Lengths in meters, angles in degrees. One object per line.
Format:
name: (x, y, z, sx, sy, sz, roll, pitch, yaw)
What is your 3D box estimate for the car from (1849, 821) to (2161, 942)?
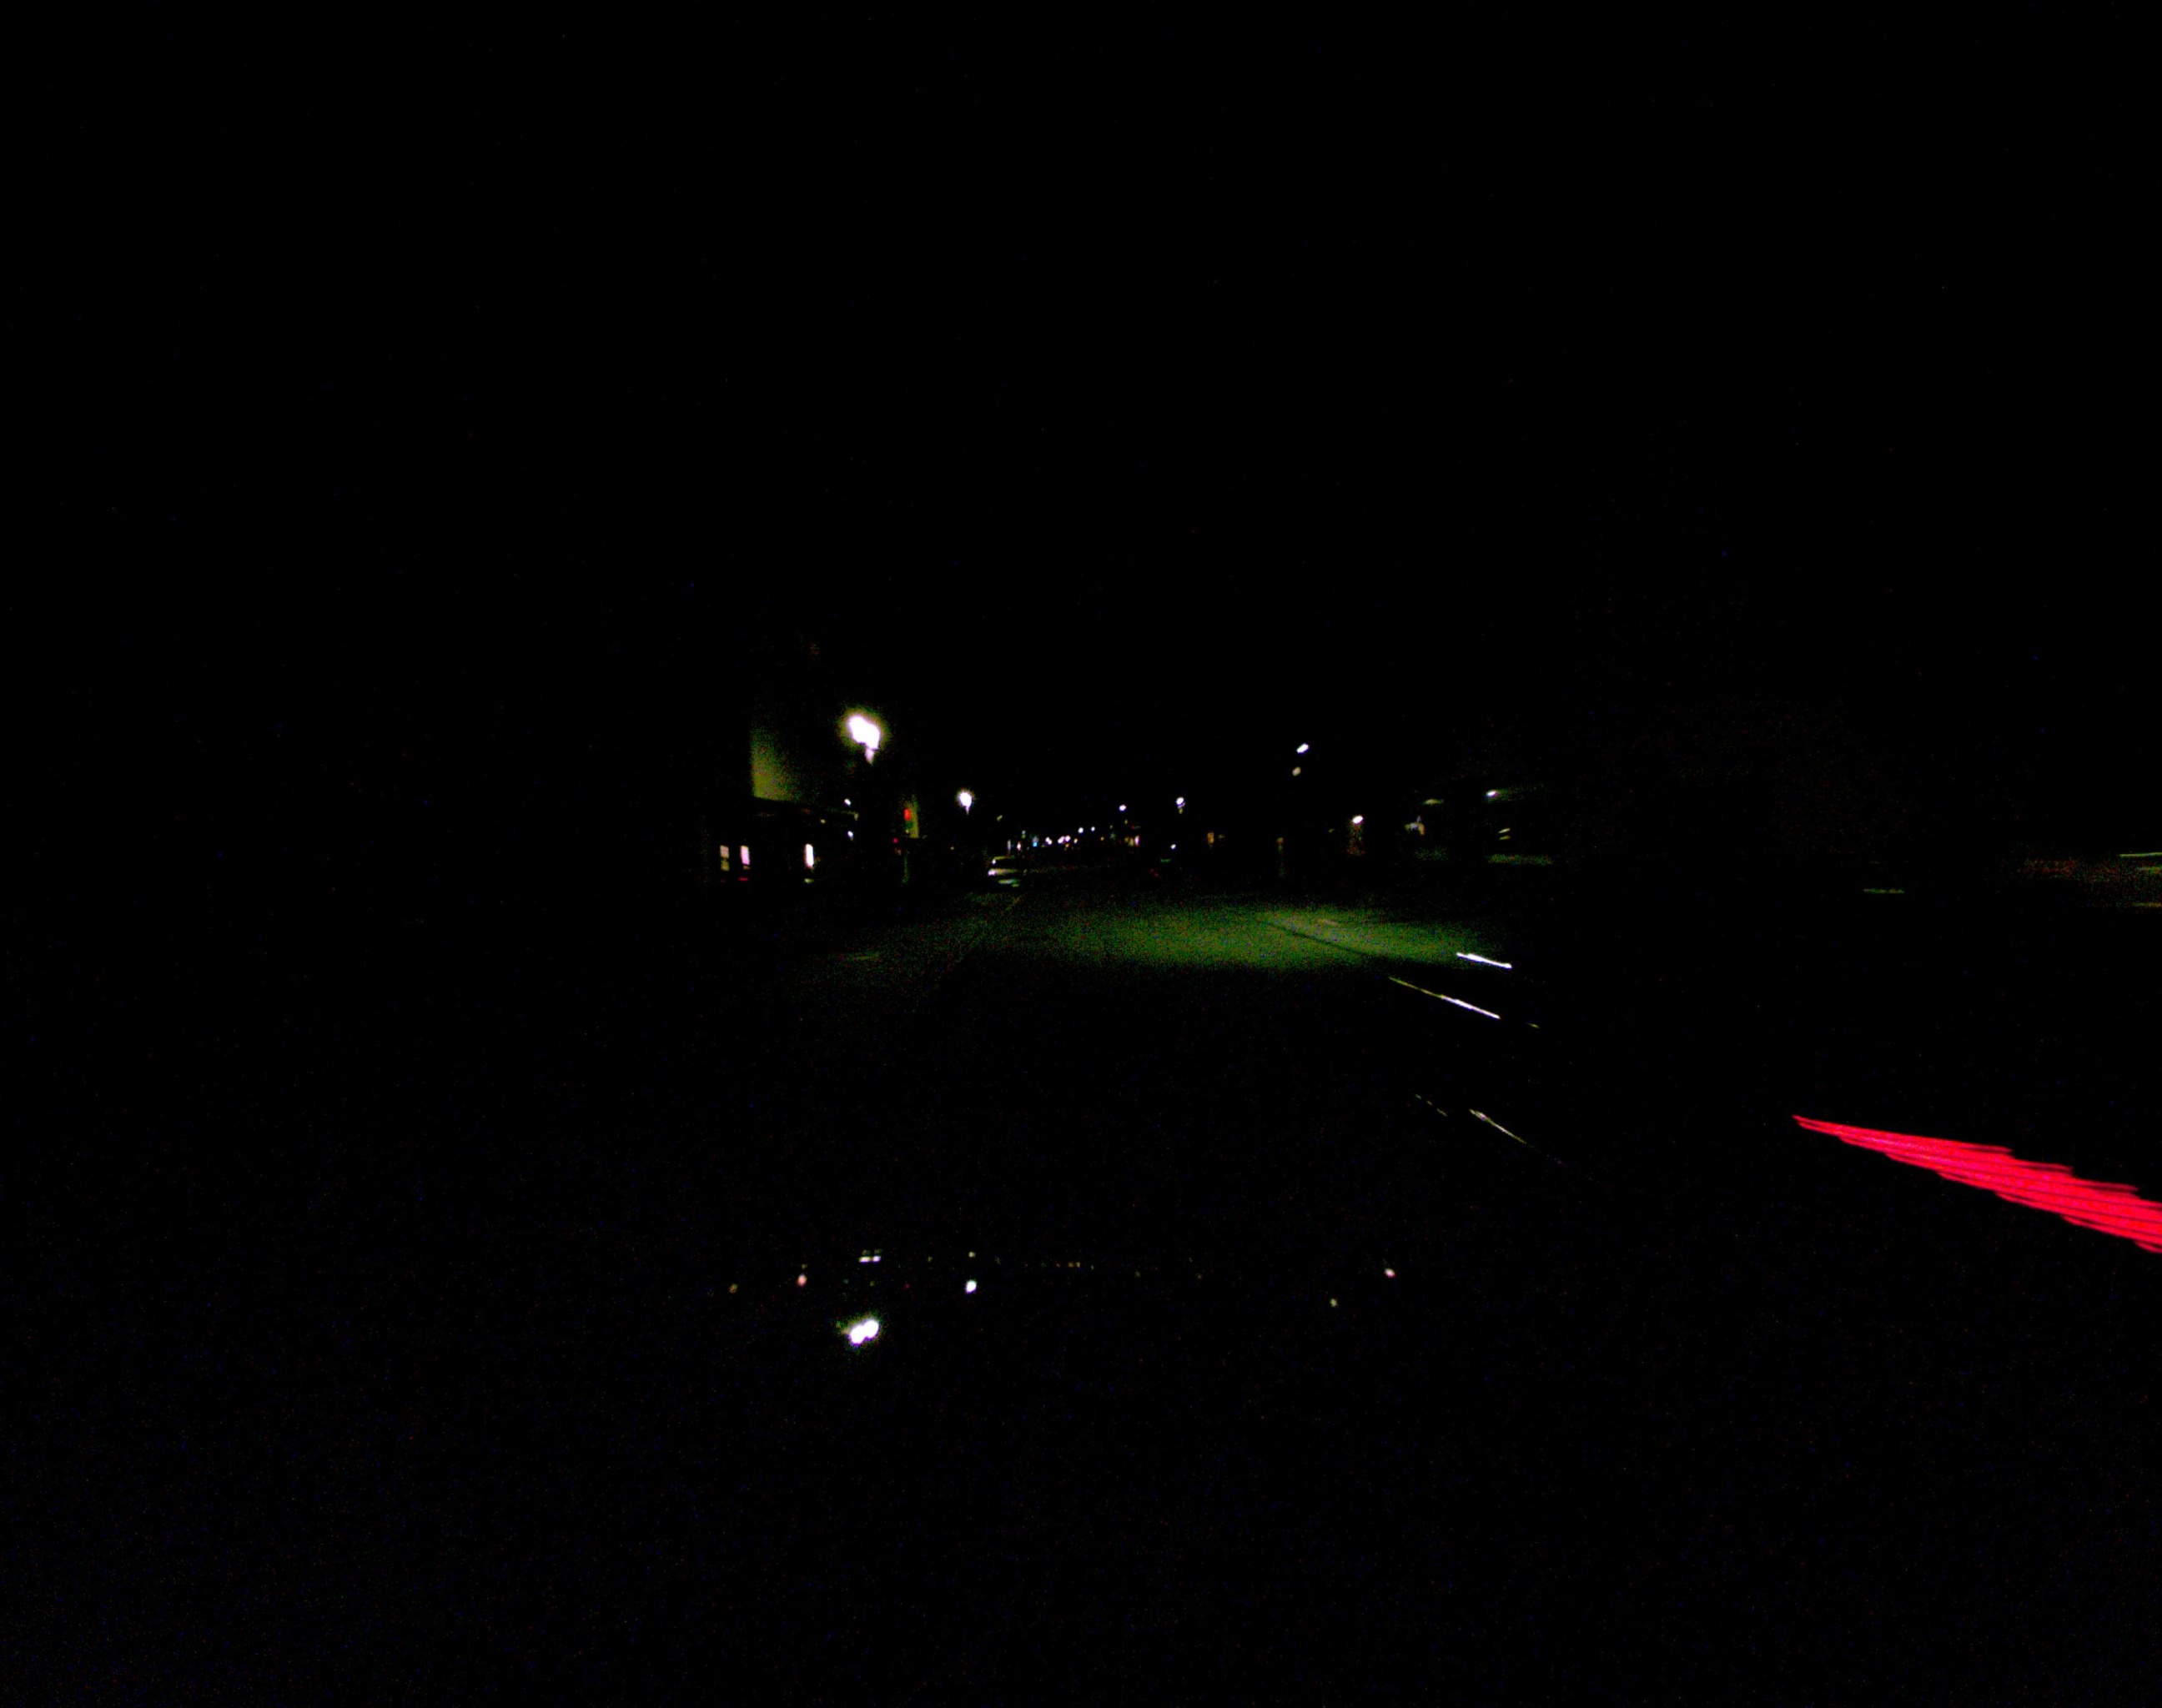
car: (12.905, 0.313, 9.998, 3.832, 1.408, 1.652, -2, 1, 2)

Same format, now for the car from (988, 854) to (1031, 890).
car: (-3.160, 0.768, 34.105, 1.606, 1.474, 3.698, -2, 1, -2)

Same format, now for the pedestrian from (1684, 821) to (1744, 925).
pedestrian: (10.012, 0.293, 12.035, 0.528, 1.579, 0.667, -2, 1, 22)

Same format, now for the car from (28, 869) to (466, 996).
car: (-9.910, 0.900, 9.264, 3.403, 1.275, 1.644, 2, 0, -3)

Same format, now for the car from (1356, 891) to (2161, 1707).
car: (2.624, 0.918, 2.739, 1.822, 1.271, 3.916, -2, 1, 0)

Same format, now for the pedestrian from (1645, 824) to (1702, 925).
pedestrian: (9.521, 0.322, 12.237, 0.528, 1.579, 0.667, -2, 1, 22)

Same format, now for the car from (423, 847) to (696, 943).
car: (-9.634, 0.724, 14.267, 3.916, 1.578, 1.644, 2, 0, -3)

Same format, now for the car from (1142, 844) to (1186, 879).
car: (4.254, 0.362, 39.496, 1.814, 1.637, 3.803, -4, 1, 0)
